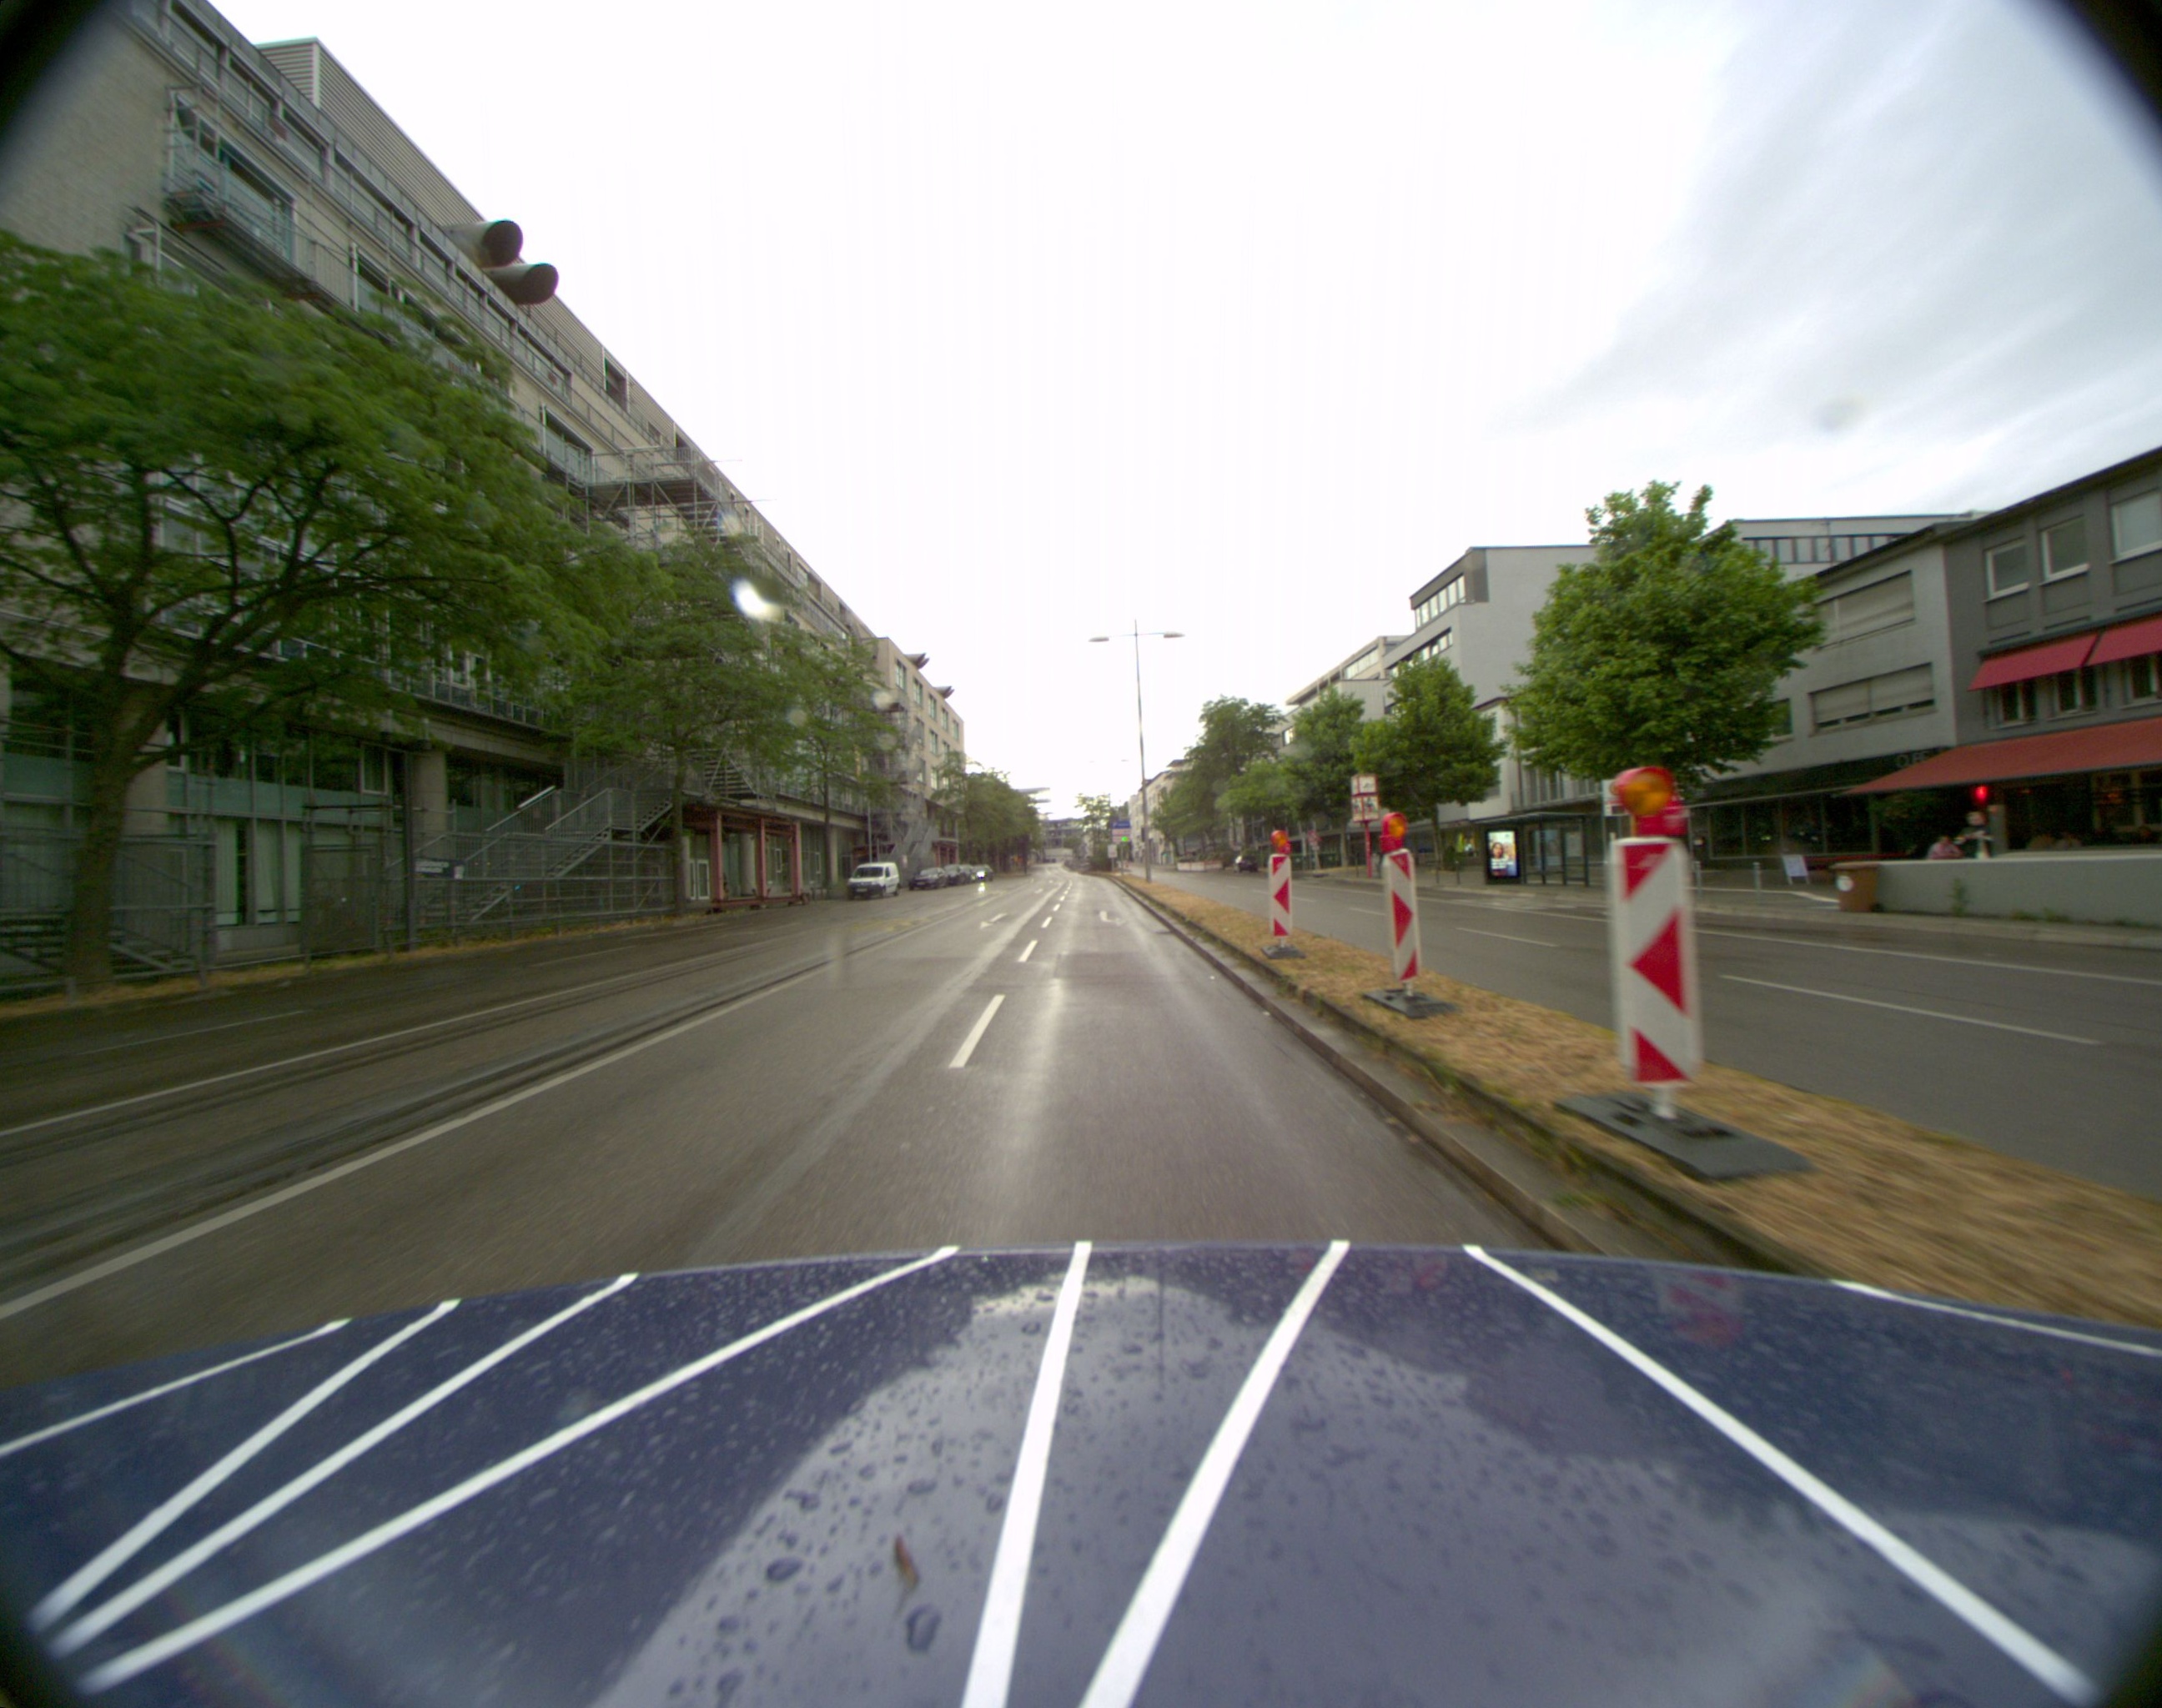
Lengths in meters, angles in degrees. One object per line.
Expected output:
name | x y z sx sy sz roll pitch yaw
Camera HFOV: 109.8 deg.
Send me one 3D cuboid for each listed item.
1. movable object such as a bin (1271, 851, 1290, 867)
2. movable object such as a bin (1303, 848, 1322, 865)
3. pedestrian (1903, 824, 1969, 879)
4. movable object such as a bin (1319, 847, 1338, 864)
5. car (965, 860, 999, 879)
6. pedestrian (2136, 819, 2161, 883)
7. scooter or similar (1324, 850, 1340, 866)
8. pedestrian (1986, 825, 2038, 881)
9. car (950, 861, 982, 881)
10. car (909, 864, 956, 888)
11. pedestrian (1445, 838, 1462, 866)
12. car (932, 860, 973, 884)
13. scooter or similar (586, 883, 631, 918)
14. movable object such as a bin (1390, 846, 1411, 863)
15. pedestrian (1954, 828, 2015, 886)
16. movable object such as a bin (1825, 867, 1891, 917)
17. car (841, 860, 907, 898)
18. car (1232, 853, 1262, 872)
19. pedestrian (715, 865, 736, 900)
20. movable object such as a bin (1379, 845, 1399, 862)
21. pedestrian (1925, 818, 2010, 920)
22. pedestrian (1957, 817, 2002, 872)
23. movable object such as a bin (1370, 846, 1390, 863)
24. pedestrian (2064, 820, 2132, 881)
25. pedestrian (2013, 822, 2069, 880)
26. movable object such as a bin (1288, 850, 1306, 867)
movable object such as a bin | 17.534 0.441 66.734 1.362 1.418 1.088 -2 0 1
movable object such as a bin | 20.324 0.249 66.759 1.281 1.418 1.088 -2 0 1
pedestrian | 23.075 -0.065 20.523 0.691 1.442 0.914 -2 0 -3
movable object such as a bin | 21.718 0.129 66.750 1.281 1.479 1.088 -2 0 1
car | -8.832 1.394 68.488 1.998 1.591 5.291 -2 0 4
pedestrian | 24.742 -0.073 17.244 0.635 1.442 0.691 -2 0 -6
scooter or similar | 19.642 0.345 59.407 0.777 1.114 1.324 -5 -3 2
pedestrian | 24.877 -0.034 20.309 0.691 1.442 0.547 -2 0 -4
car | -9.431 1.374 62.569 1.866 1.591 4.593 -2 0 1
car | -9.775 1.445 50.401 1.873 1.429 4.922 -2 0 3
pedestrian | 23.780 -0.122 48.511 0.698 1.753 0.653 -2 0 3
car | -9.580 1.329 57.194 1.998 1.636 4.863 -2 0 3
scooter or similar | -17.196 1.677 27.689 0.633 1.154 1.547 -2 0 1
movable object such as a bin | 27.255 0.048 64.846 1.088 1.427 1.281 -2 0 -9
pedestrian | 23.153 0.085 19.489 0.691 1.442 0.708 -2 0 -3
movable object such as a bin | 14.486 0.701 14.182 0.533 0.892 0.682 0 0 -9
car | -10.458 1.229 38.656 1.998 1.739 4.527 -2 0 1
car | 15.263 0.794 70.044 1.783 1.626 4.024 -2 -1 -2
pedestrian | -18.072 1.434 38.661 0.677 1.732 0.653 -2 0 3
movable object such as a bin | 26.850 -0.020 66.225 1.088 1.427 1.281 -2 0 -9
pedestrian | 16.972 0.286 14.561 0.691 1.874 0.758 -2 0 -3
pedestrian | 26.024 -0.274 22.002 0.598 1.561 0.604 -2 0 -9
movable object such as a bin | 26.664 0.045 67.764 1.088 1.427 1.281 -2 0 -9
pedestrian | 24.918 -0.075 18.620 0.728 1.442 0.691 -2 0 -6
pedestrian | 24.844 -0.068 19.666 0.691 1.442 0.583 -2 0 -2
movable object such as a bin | 18.973 0.374 66.735 1.281 1.418 1.088 -2 0 1
